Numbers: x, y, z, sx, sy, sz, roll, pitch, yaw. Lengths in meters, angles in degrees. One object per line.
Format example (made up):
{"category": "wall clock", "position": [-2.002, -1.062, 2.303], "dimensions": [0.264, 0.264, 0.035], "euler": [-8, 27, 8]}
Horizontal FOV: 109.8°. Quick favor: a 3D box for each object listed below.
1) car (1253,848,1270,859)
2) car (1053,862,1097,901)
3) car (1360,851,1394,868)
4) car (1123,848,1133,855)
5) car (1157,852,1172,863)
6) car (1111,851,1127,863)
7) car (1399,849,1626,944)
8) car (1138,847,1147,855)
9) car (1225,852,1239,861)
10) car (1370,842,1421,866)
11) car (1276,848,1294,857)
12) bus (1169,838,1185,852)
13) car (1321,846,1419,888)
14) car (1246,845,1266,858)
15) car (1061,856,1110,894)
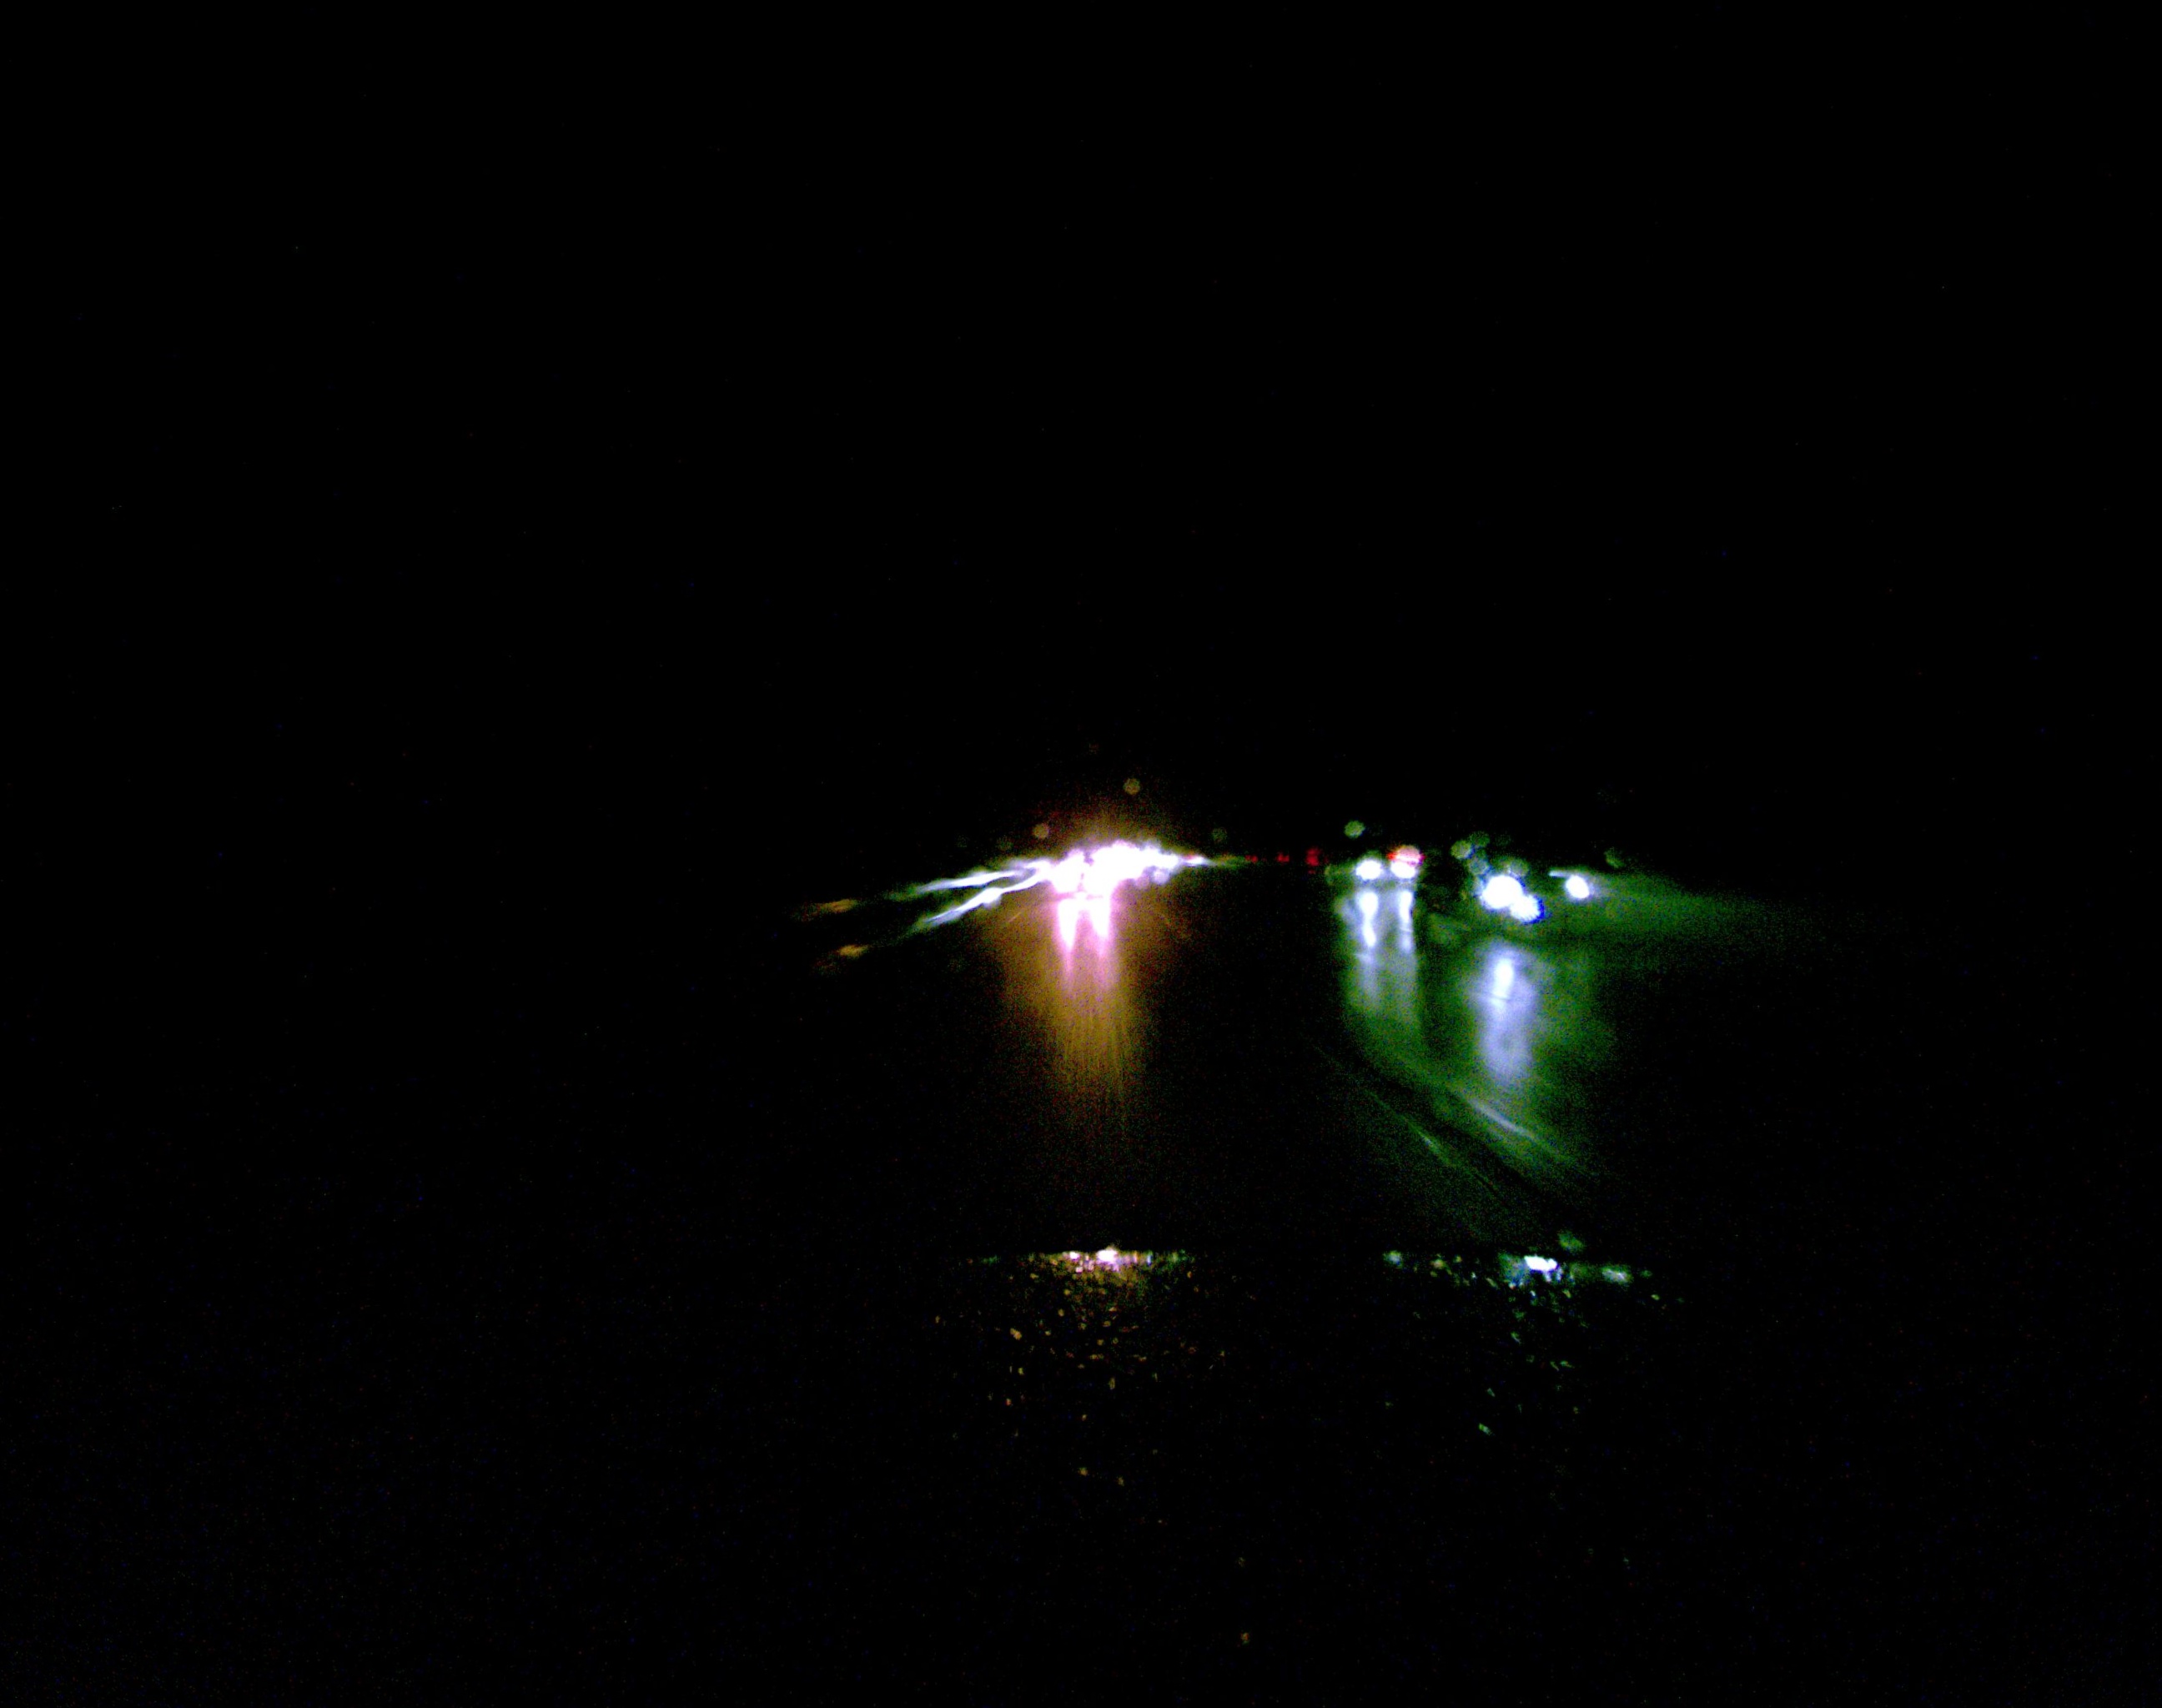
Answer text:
{"category": "car", "position": [30.526, -0.061, 128.429], "dimensions": [1.884, 1.712, 4.563], "euler": [-2, 1, 2]}
{"category": "car", "position": [-0.178, 0.999, 28.568], "dimensions": [1.525, 1.256, 3.369], "euler": [-2, 1, 1]}
{"category": "car", "position": [32.725, 0.604, 84.223], "dimensions": [1.885, 1.712, 4.562], "euler": [-2, 1, 0]}
{"category": "car", "position": [10.227, -0.524, 167.191], "dimensions": [1.998, 1.551, 4.587], "euler": [-2, 1, 2]}
{"category": "car", "position": [13.005, 0.495, 118.313], "dimensions": [1.998, 1.551, 4.587], "euler": [-2, 1, 2]}
{"category": "car", "position": [5.348, 0.451, 106.945], "dimensions": [1.998, 1.551, 4.587], "euler": [-2, 1, 2]}
{"category": "car", "position": [7.758, 0.669, 14.197], "dimensions": [1.998, 1.433, 4.000], "euler": [-2, 1, 1]}
{"category": "car", "position": [15.486, -0.838, 190.737], "dimensions": [1.998, 1.797, 4.000], "euler": [-2, 1, 2]}
{"category": "car", "position": [30.791, 0.462, 155.026], "dimensions": [1.885, 1.712, 4.562], "euler": [-2, 1, -2]}
{"category": "car", "position": [24.080, -0.010, 58.409], "dimensions": [1.885, 1.712, 4.562], "euler": [-2, 1, -2]}
{"category": "car", "position": [34.334, -0.302, 128.023], "dimensions": [1.885, 1.425, 3.895], "euler": [-2, 1, -1]}
{"category": "bus", "position": [31.610, -3.075, 250.402], "dimensions": [3.379, 4.423, 16.541], "euler": [-2, 1, 2]}
{"category": "car", "position": [11.559, 0.446, 30.792], "dimensions": [1.998, 1.468, 5.164], "euler": [-2, 1, 1]}
{"category": "car", "position": [26.338, -0.400, 114.578], "dimensions": [1.885, 1.712, 4.562], "euler": [-2, 1, -1]}
{"category": "car", "position": [0.247, 0.939, 33.926], "dimensions": [1.998, 1.542, 4.001], "euler": [-2, -1, 1]}
